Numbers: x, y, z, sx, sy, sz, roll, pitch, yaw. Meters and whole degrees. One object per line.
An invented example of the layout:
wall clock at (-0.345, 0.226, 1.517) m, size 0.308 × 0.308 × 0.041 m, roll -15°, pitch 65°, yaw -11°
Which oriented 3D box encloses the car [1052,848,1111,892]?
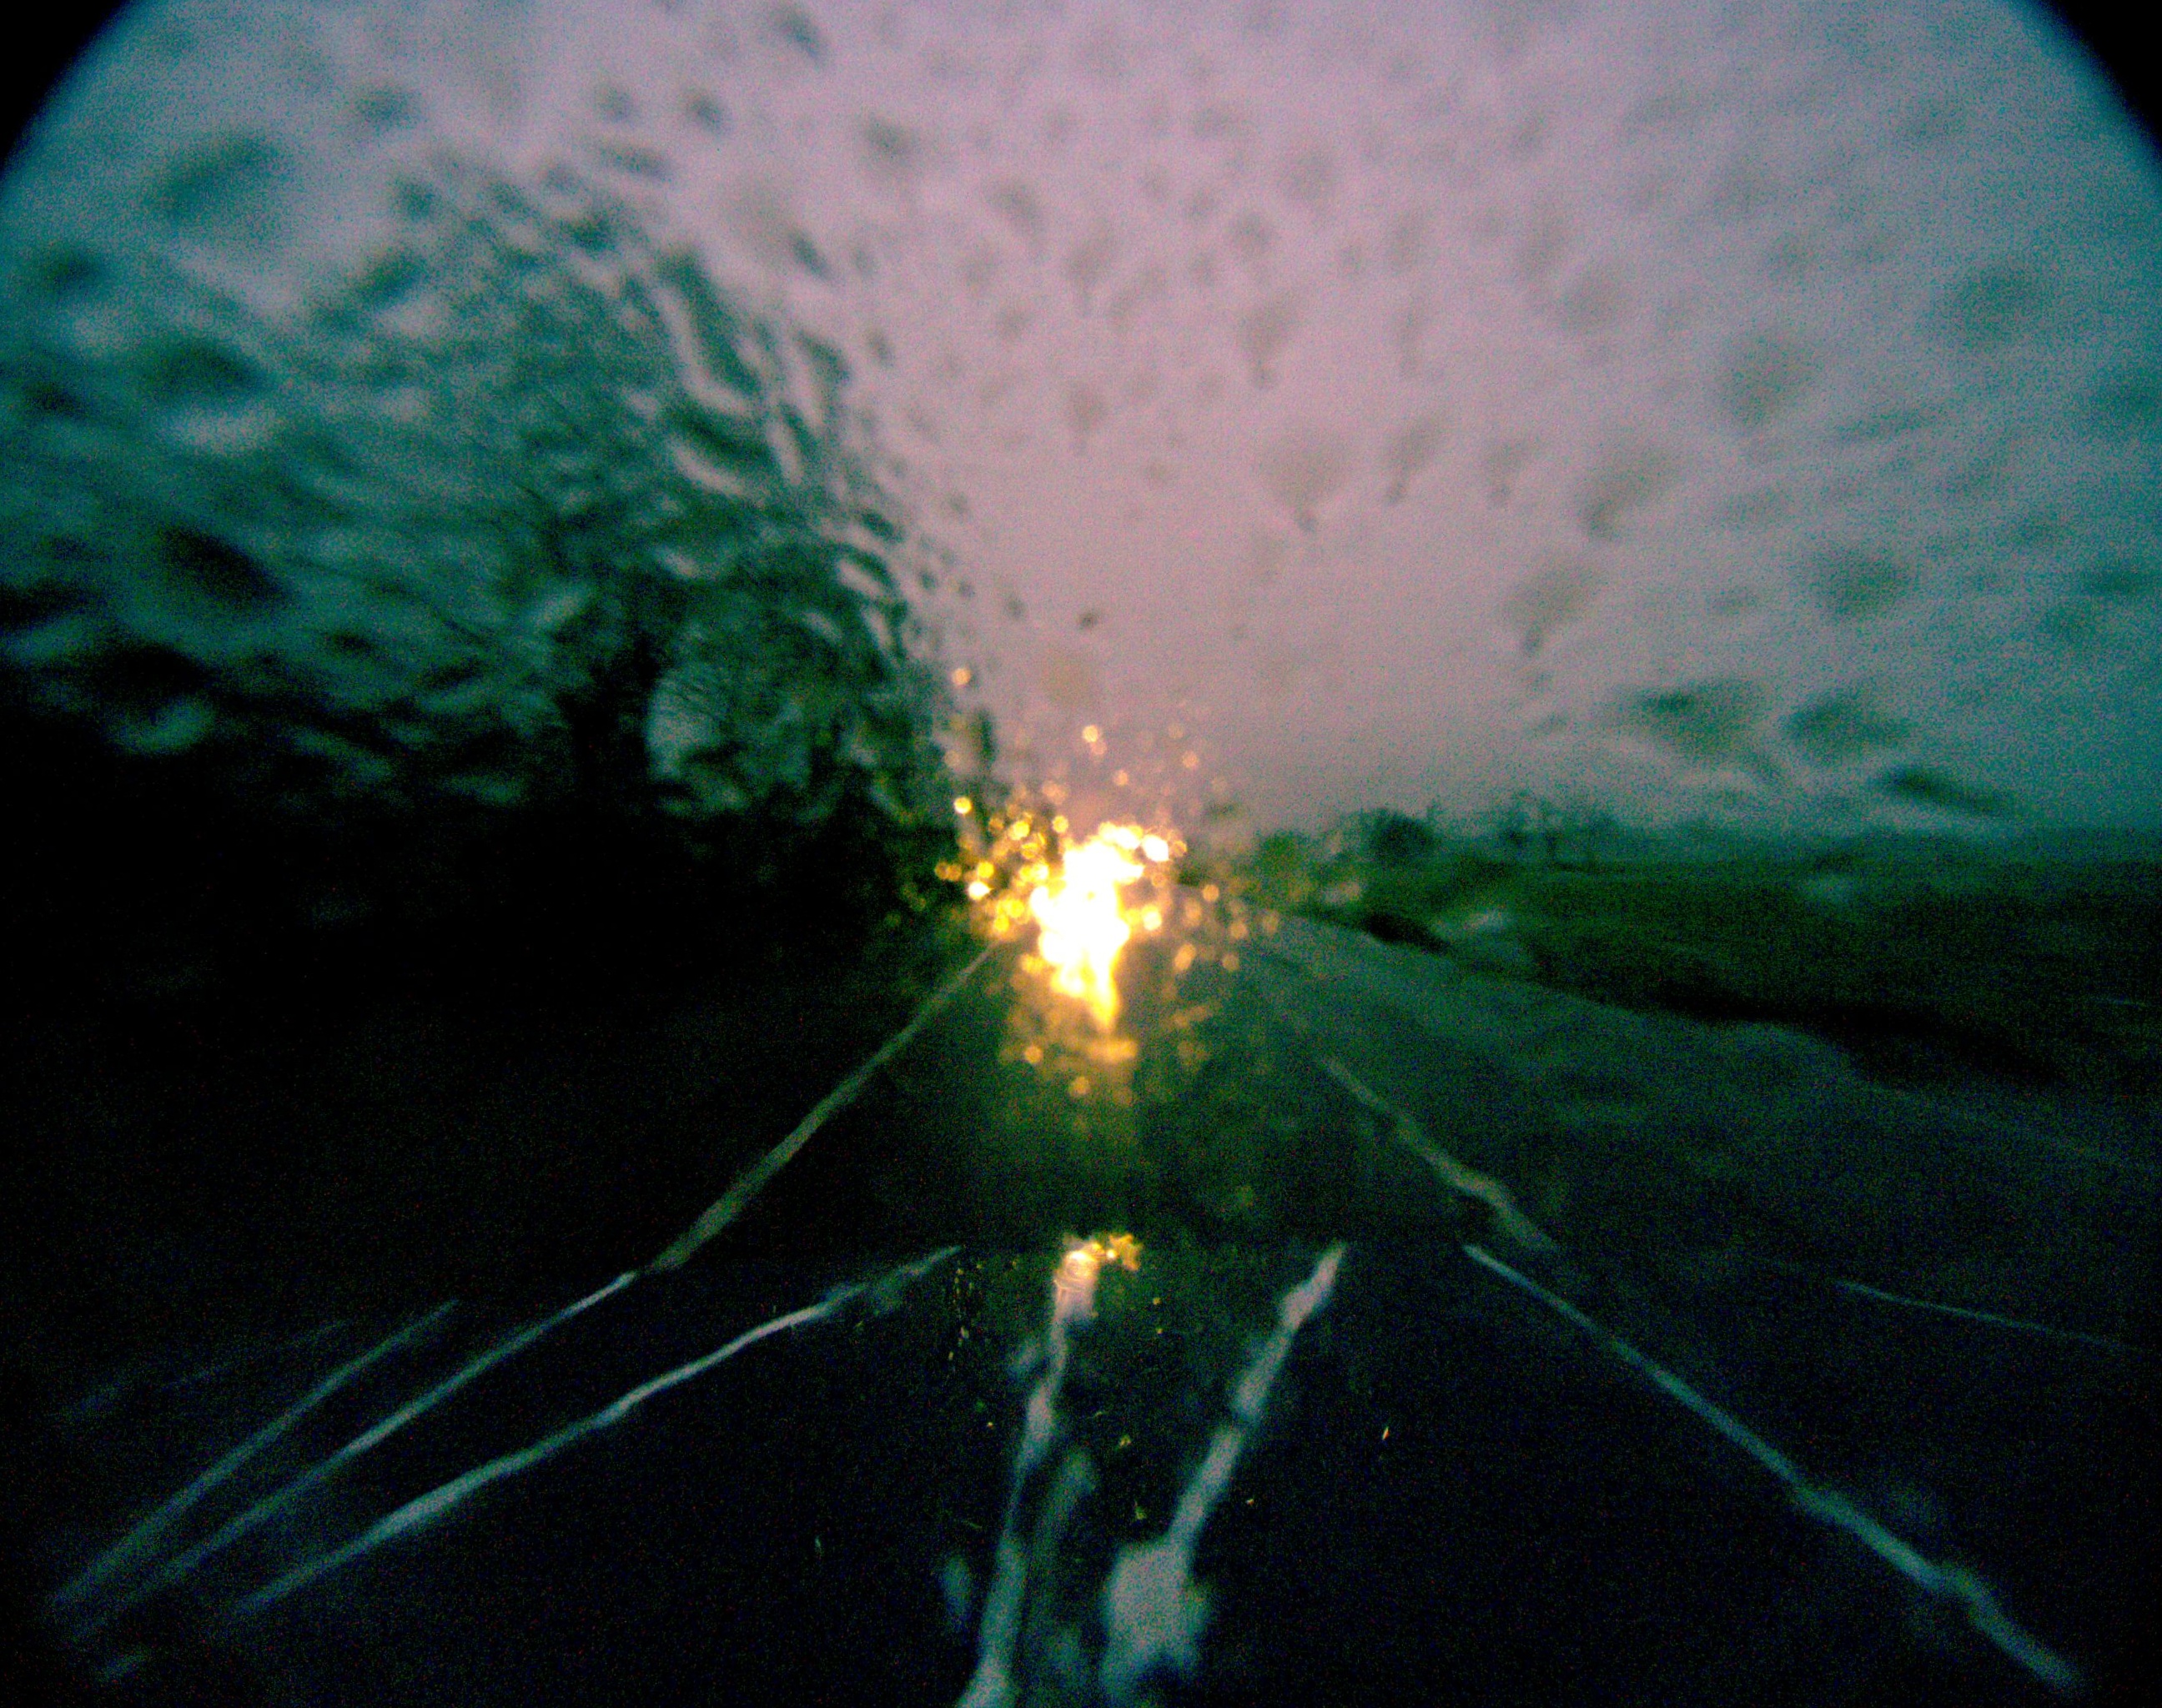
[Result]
car at (0.101, 0.722, 38.616) m, size 2.704 × 1.974 × 5.804 m, roll -2°, pitch 1°, yaw 1°
